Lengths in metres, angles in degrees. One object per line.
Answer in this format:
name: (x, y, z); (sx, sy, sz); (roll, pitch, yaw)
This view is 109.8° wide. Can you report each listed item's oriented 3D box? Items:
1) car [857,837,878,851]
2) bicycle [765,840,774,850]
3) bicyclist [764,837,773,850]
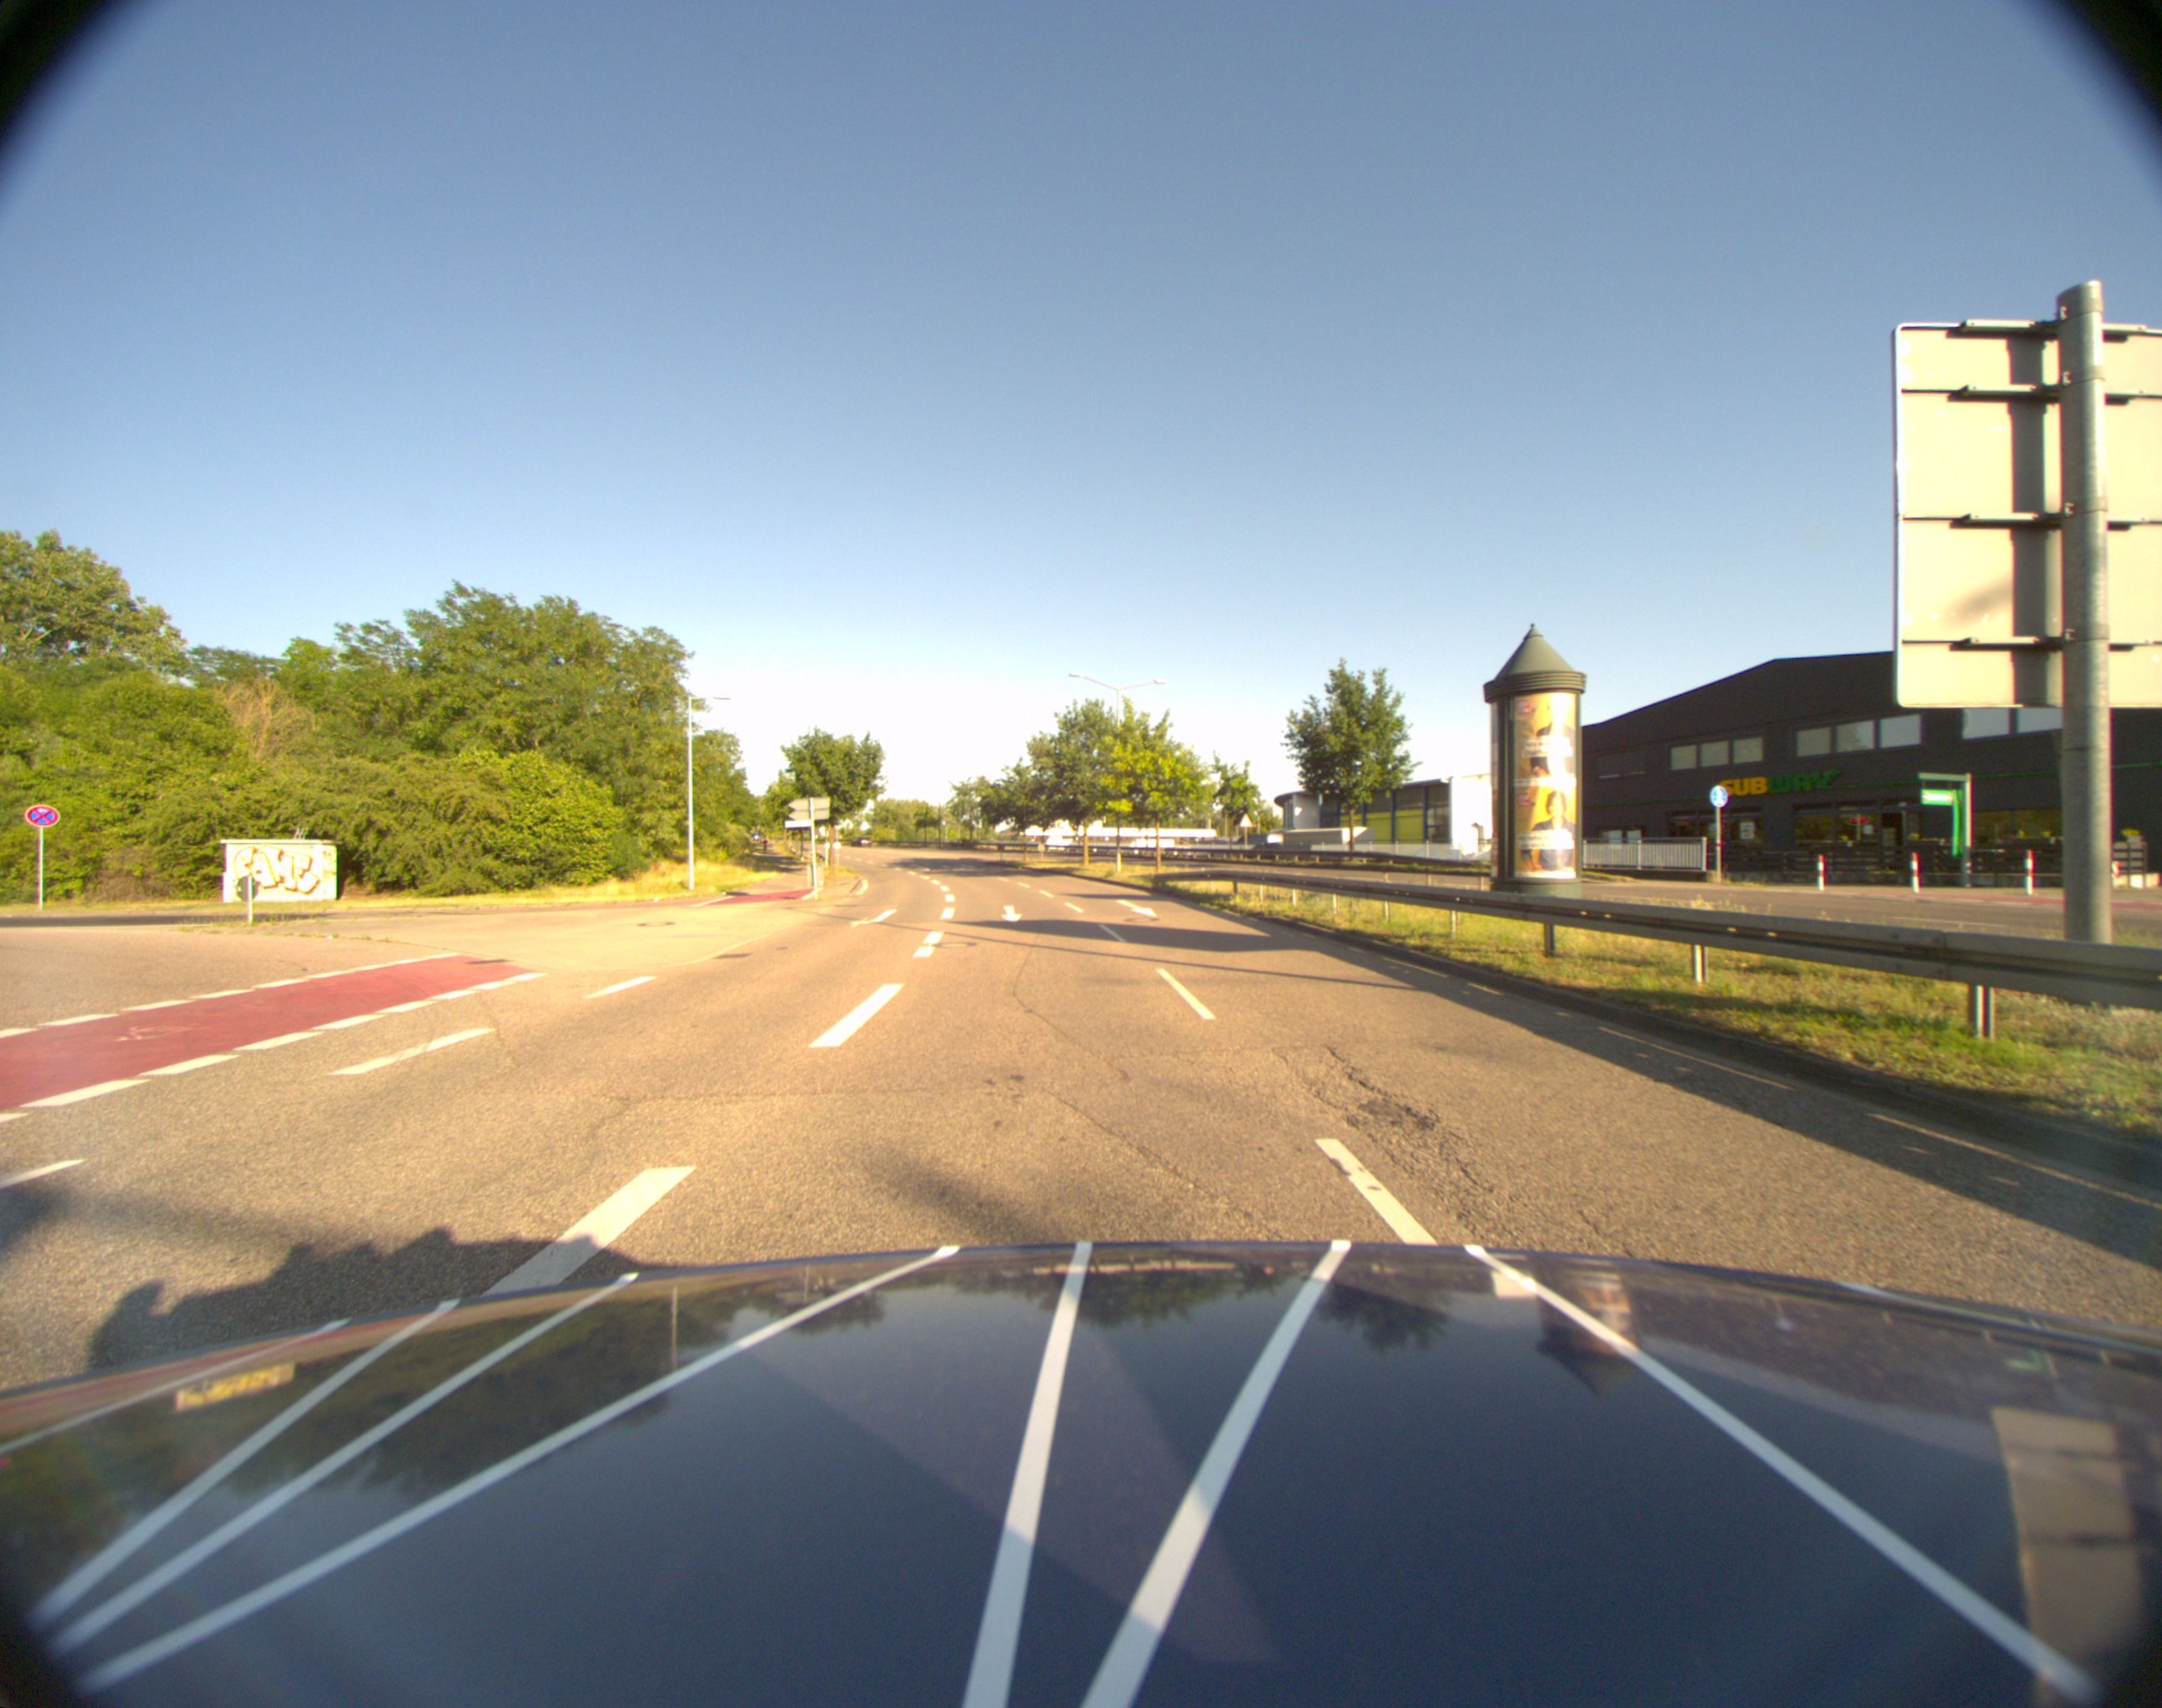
car: (-30.421, -1.426, 108.141); (2.003, 1.761, 3.991); (-3, 1, -30)
bicycle: (-33.922, -0.948, 82.658); (0.783, 1.051, 2.492); (-3, 1, -21)
bicyclist: (-33.958, -1.133, 82.639); (0.844, 1.413, 1.112); (-3, 1, -20)
